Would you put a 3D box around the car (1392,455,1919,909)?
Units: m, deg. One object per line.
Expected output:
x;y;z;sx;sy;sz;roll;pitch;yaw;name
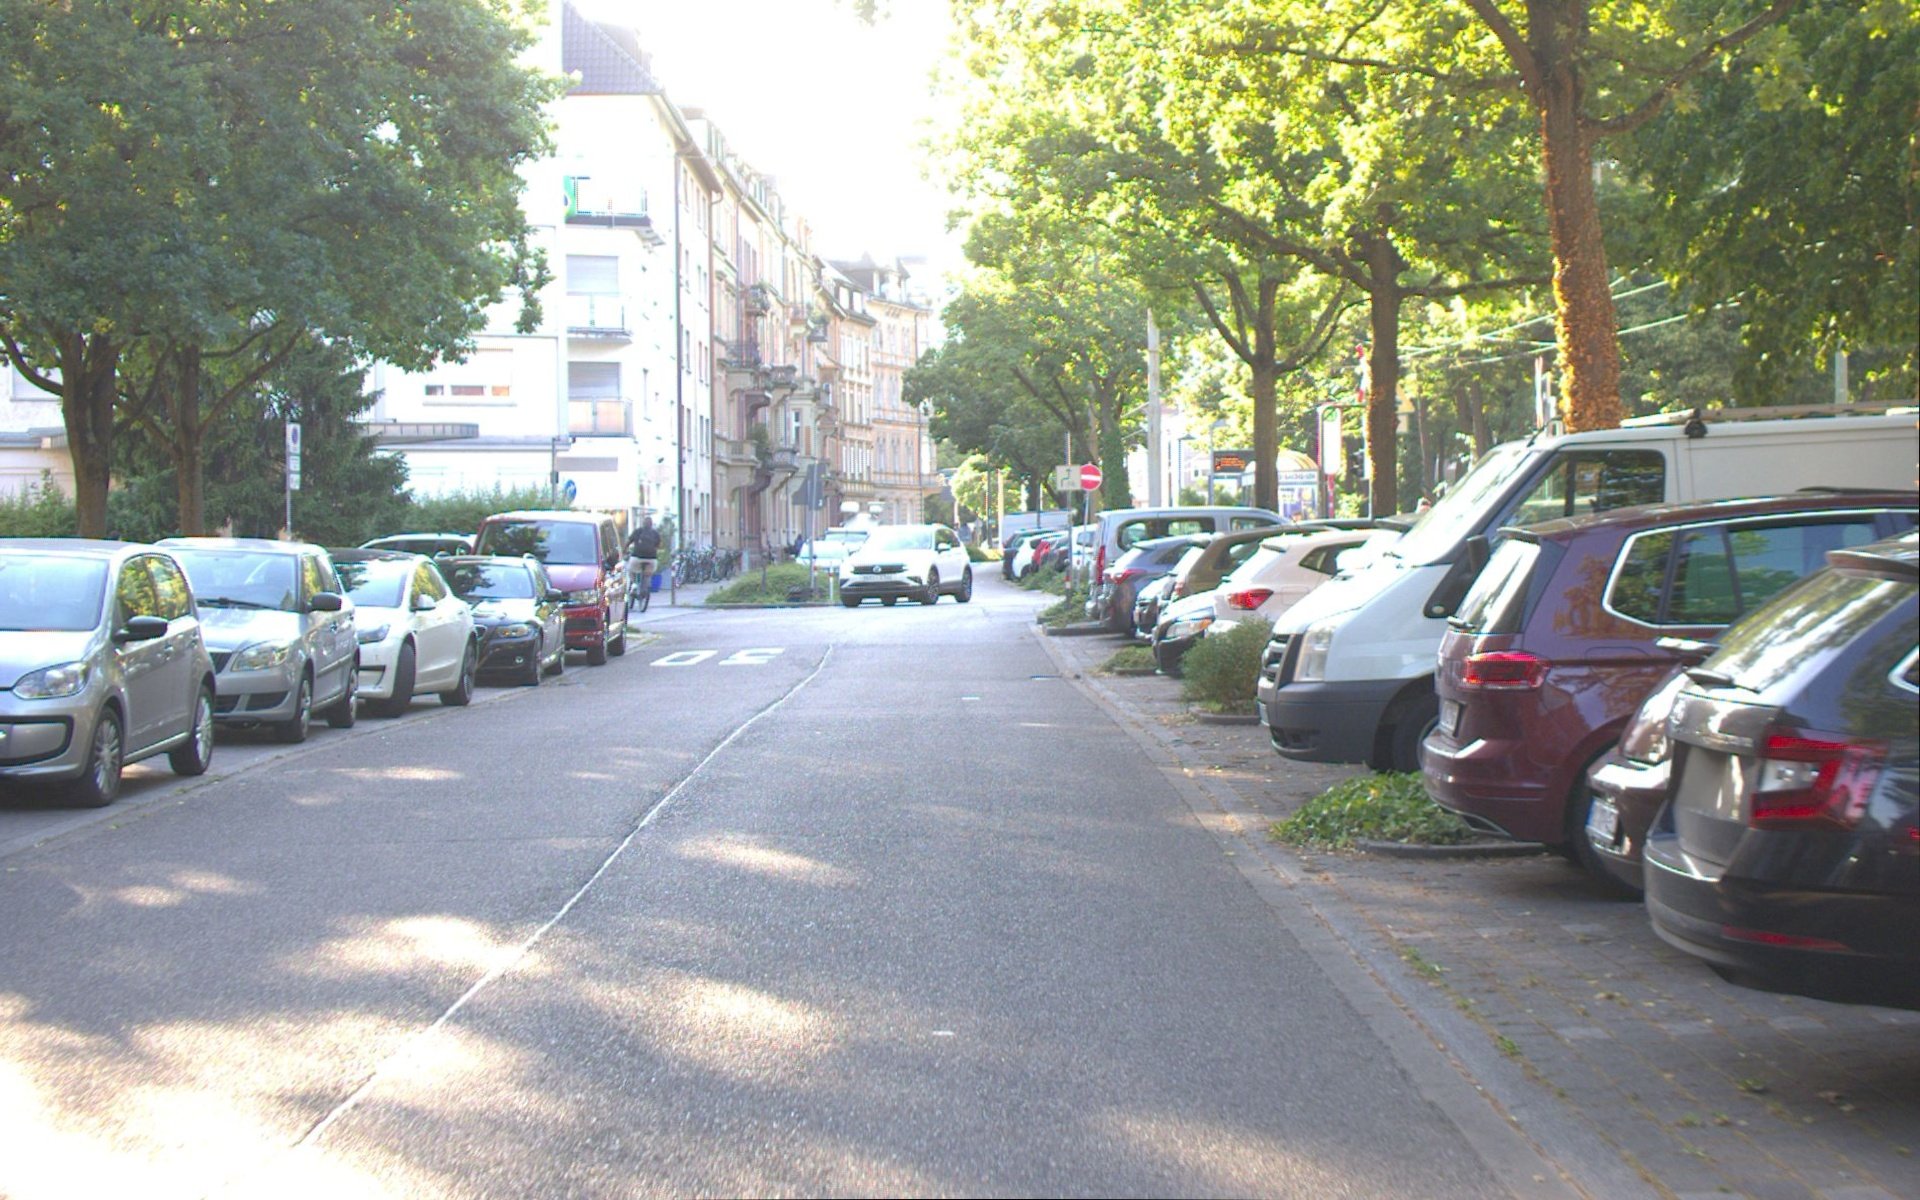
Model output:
3.918;0.255;14.234;3.987;1.685;1.859;-2;1;1;car

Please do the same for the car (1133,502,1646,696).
3.861;0.001;31.406;4.389;1.694;1.859;0;-1;-2;car

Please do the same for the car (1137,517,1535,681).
3.970;-0.001;36.771;3.986;1.694;1.859;0;-1;-2;car

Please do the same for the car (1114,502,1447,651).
4.039;-0.284;43.728;3.986;1.819;1.859;0;-1;-2;car

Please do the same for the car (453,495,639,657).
-5.378;-0.344;45.166;1.957;2.011;4.268;0;1;0;car

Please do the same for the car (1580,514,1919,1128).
3.944;0.442;9.159;4.220;1.448;1.865;-2;1;1;car

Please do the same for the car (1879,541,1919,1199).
4.005;0.534;6.264;4.220;1.448;1.648;-2;1;4;car

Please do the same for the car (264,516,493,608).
-11.062;-0.710;65.582;3.987;1.700;2.000;0;-1;1;car

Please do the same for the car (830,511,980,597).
-1.062;-0.933;68.777;1.780;1.668;4.484;1;1;16;car

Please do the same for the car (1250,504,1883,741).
4.108;0.160;23.732;3.986;1.543;1.859;0;-1;-2;car

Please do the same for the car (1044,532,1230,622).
4.053;-0.517;78.557;3.989;2.007;1.999;0;-1;12;car

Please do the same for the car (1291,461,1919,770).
4.179;0.079;21.358;3.986;1.811;1.859;0;1;-2;car

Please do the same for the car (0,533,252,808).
-5.524;0.342;20.447;1.704;1.424;3.877;2;1;1;car

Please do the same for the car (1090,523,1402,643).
3.824;-0.215;46.403;3.986;1.558;1.859;0;-1;-2;car

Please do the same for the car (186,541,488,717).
-5.522;0.206;30.981;1.756;1.461;4.267;0;1;3;car

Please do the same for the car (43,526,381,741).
-5.625;0.194;26.325;1.756;1.510;4.162;0;1;-1;car

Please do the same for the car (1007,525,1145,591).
3.621;-1.290;106.564;3.989;2.007;1.999;0;-1;12;car

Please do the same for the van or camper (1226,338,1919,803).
4.057;-0.134;18.789;4.981;2.369;2.185;0;-1;-1;van or camper

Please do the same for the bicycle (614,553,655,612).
-6.192;-0.328;65.485;0.641;1.096;1.944;0;-1;-1;bicycle

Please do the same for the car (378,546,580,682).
-5.483;0.120;39.639;1.756;1.461;4.268;0;1;0;car

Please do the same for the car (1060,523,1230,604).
4.652;-0.908;86.263;3.989;2.007;1.999;0;-1;12;car

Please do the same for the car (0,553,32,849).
-5.473;0.516;15.012;1.670;1.425;4.241;0;1;0;car

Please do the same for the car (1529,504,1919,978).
4.111;0.367;11.772;3.987;1.456;1.859;-2;1;1;car

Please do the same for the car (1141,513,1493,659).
4.259;-0.156;41.429;3.986;1.694;1.859;0;-1;-2;car

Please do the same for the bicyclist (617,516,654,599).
-6.189;-0.811;65.531;0.627;1.568;0.802;0;-1;-1;bicyclist

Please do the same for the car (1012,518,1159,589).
3.659;-1.348;99.704;3.989;2.007;1.999;0;-1;12;car

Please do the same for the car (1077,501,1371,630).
3.731;-0.475;49.075;3.986;1.788;1.859;0;-1;-2;car

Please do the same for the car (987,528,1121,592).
3.026;-1.263;110.101;3.989;2.007;1.999;0;-1;12;car

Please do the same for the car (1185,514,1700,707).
3.977;0.093;28.789;3.986;1.543;1.859;0;-1;-2;car

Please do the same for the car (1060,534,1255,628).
4.325;-0.400;75.016;3.989;2.007;1.999;0;-1;12;car

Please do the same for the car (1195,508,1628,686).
4.431;-0.021;34.114;3.986;1.694;1.859;0;-1;-2;car
